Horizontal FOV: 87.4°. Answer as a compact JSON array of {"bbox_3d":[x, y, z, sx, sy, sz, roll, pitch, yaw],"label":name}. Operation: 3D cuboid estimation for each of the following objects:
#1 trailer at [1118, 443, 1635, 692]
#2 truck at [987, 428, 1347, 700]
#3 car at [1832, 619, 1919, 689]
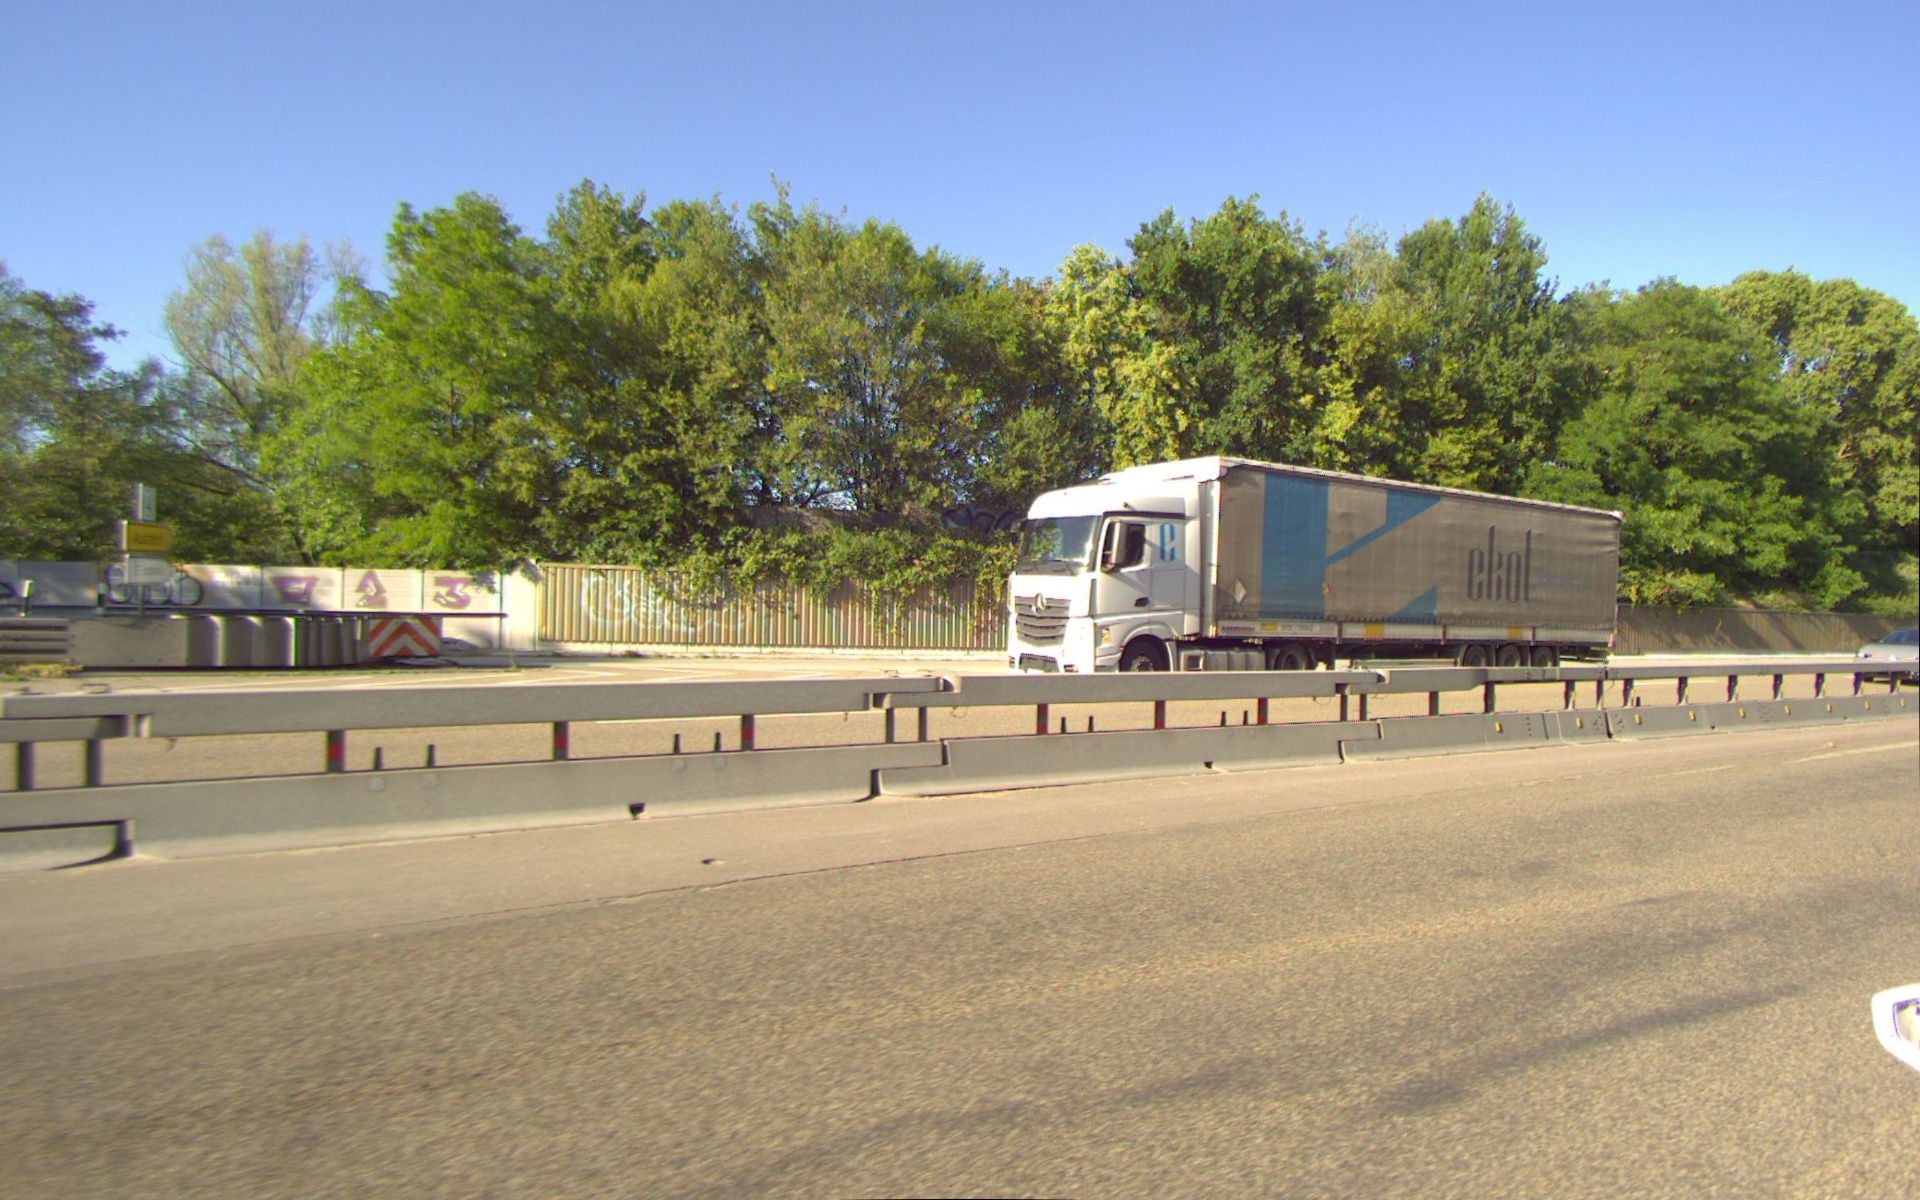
[{"bbox_3d":[9.831,-0.547,22.271,13.921,4.338,2.733,1,2,-31],"label":"trailer"},{"bbox_3d":[3.922,-0.585,18.732,6.313,4.319,2.722,0,2,-31],"label":"truck"},{"bbox_3d":[26.231,1.412,27.417,4.875,1.680,1.986,1,2,-27],"label":"car"}]
